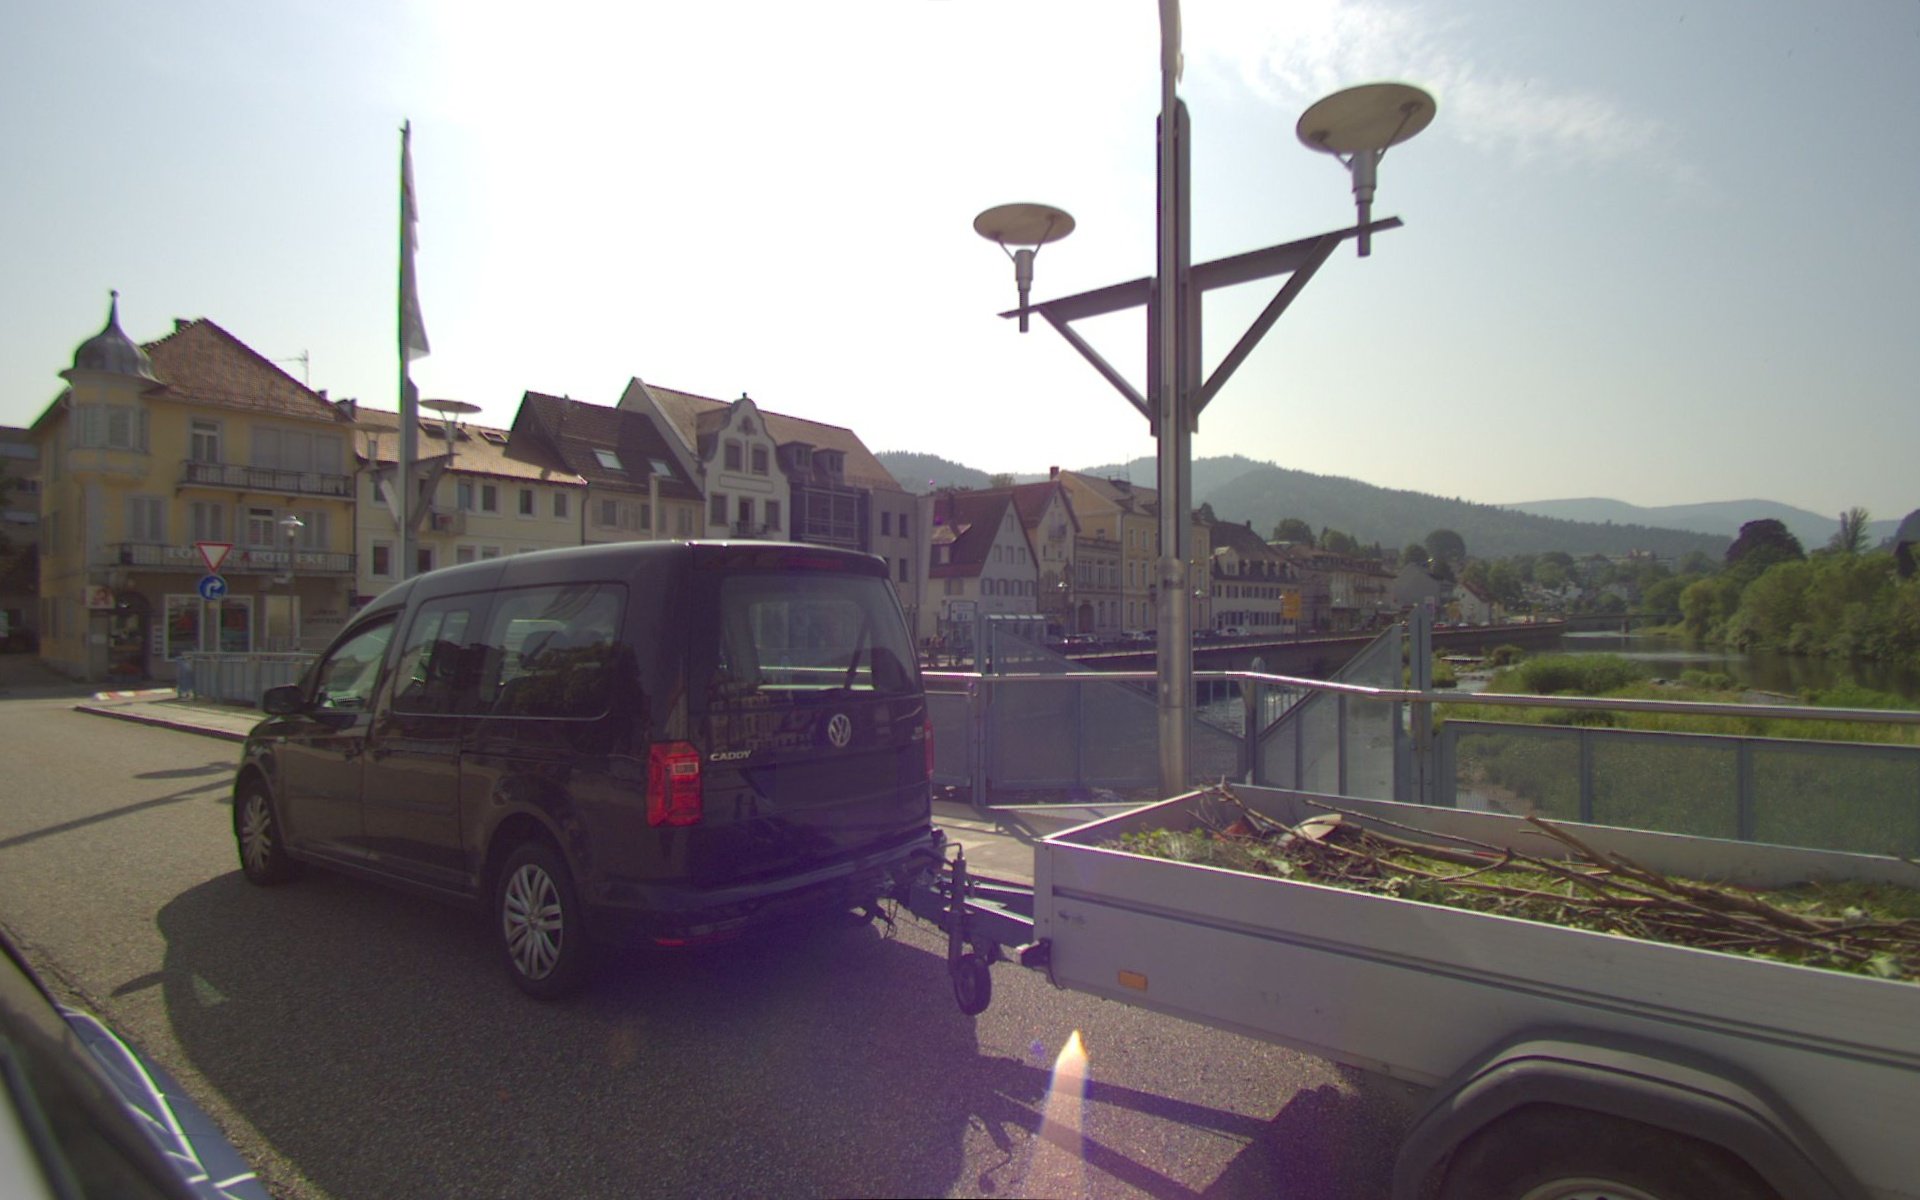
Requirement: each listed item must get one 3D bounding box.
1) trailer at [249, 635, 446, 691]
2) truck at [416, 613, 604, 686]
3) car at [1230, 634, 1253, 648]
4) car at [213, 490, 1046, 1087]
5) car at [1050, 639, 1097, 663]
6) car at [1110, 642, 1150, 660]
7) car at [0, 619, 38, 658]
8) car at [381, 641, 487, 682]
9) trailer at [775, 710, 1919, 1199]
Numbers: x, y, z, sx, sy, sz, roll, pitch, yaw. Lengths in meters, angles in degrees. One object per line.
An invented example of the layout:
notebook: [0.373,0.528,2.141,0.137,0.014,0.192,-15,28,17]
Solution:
trailer: [-21.985,2.207,36.623,2.607,1.842,5.583,-2,-3,28]
truck: [-18.371,2.022,41.760,2.107,2.720,7.048,-4,-4,35]
car: [31.931,4.650,114.865,1.516,1.459,3.236,-2,-3,36]
car: [-2.016,0.631,5.214,4.690,1.806,1.760,-2,-1,38]
car: [8.231,3.685,73.114,1.680,1.572,3.923,-2,-1,35]
car: [14.593,4.387,86.774,1.752,1.367,4.151,-3,-2,34]
car: [-48.935,1.923,49.750,1.994,1.905,5.016,-2,-2,33]
car: [-22.018,2.556,42.480,1.849,1.580,3.524,-2,-3,36]
trailer: [1.623,0.916,2.375,4.180,1.030,1.733,-2,-3,38]
